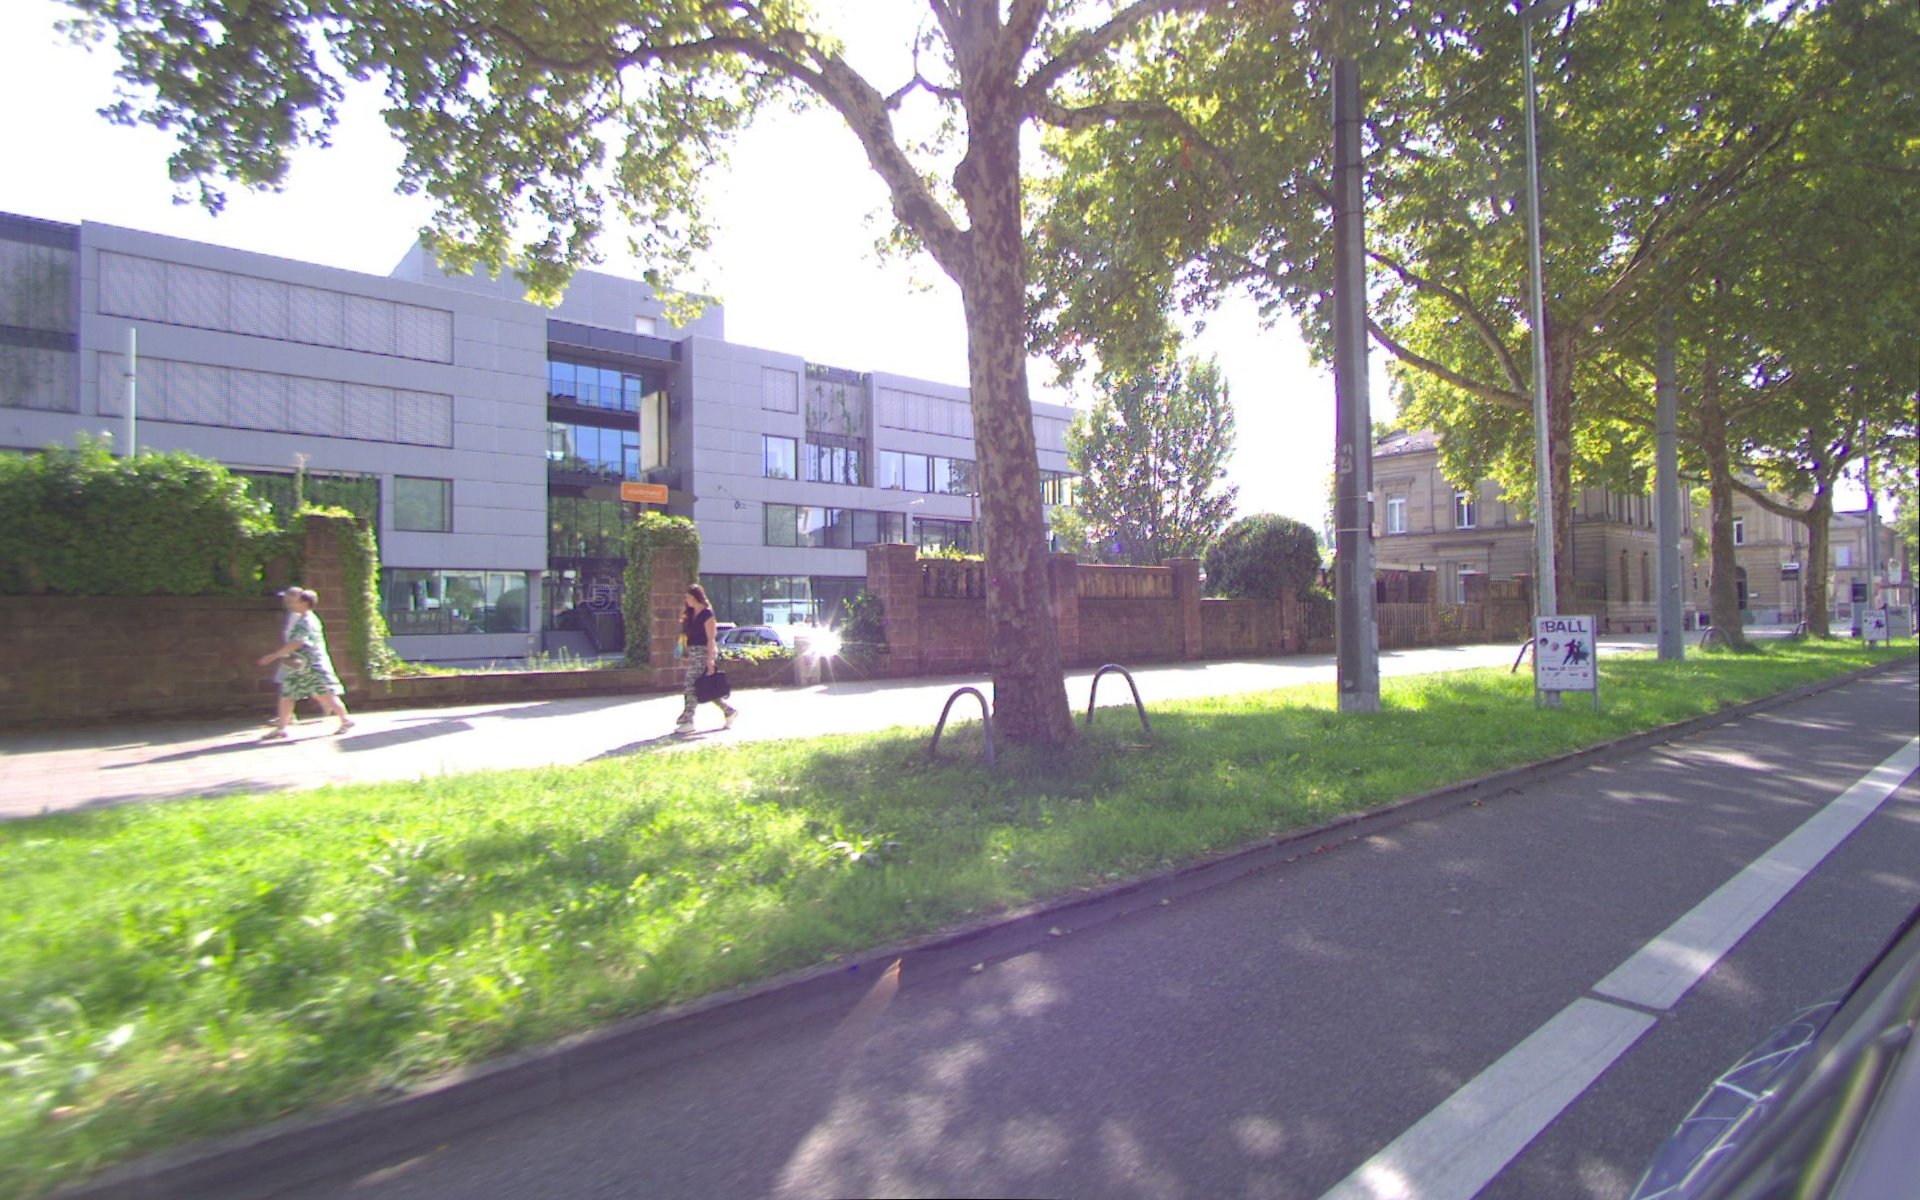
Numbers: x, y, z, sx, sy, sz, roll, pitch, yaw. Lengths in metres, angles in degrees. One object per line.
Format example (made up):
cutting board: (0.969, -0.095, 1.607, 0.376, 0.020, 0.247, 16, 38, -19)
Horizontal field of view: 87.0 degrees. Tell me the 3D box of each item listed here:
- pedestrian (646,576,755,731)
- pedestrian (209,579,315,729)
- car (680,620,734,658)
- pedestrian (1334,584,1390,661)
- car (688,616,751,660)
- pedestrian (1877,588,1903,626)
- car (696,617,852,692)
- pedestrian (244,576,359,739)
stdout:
pedestrian: (-2.927, 0.563, 11.415, 0.930, 1.657, 0.807, 0, 0, -41)
pedestrian: (-7.992, 0.578, 11.586, 0.930, 1.624, 0.807, 0, 0, -41)
car: (-11.304, 1.709, 45.457, 1.941, 1.527, 4.569, -1, -1, -9)
pedestrian: (9.145, 0.498, 23.025, 0.994, 1.708, 0.820, 0, -1, -41)
car: (-9.532, 1.467, 40.417, 2.040, 1.605, 4.569, -1, -1, -9)
pedestrian: (41.883, 0.320, 45.568, 0.683, 1.718, 0.642, -1, -1, 28)
car: (-4.520, 1.221, 24.096, 1.734, 1.611, 4.343, 0, -1, -40)
pedestrian: (-6.956, 0.571, 10.691, 0.930, 1.624, 0.807, 0, 0, -41)
